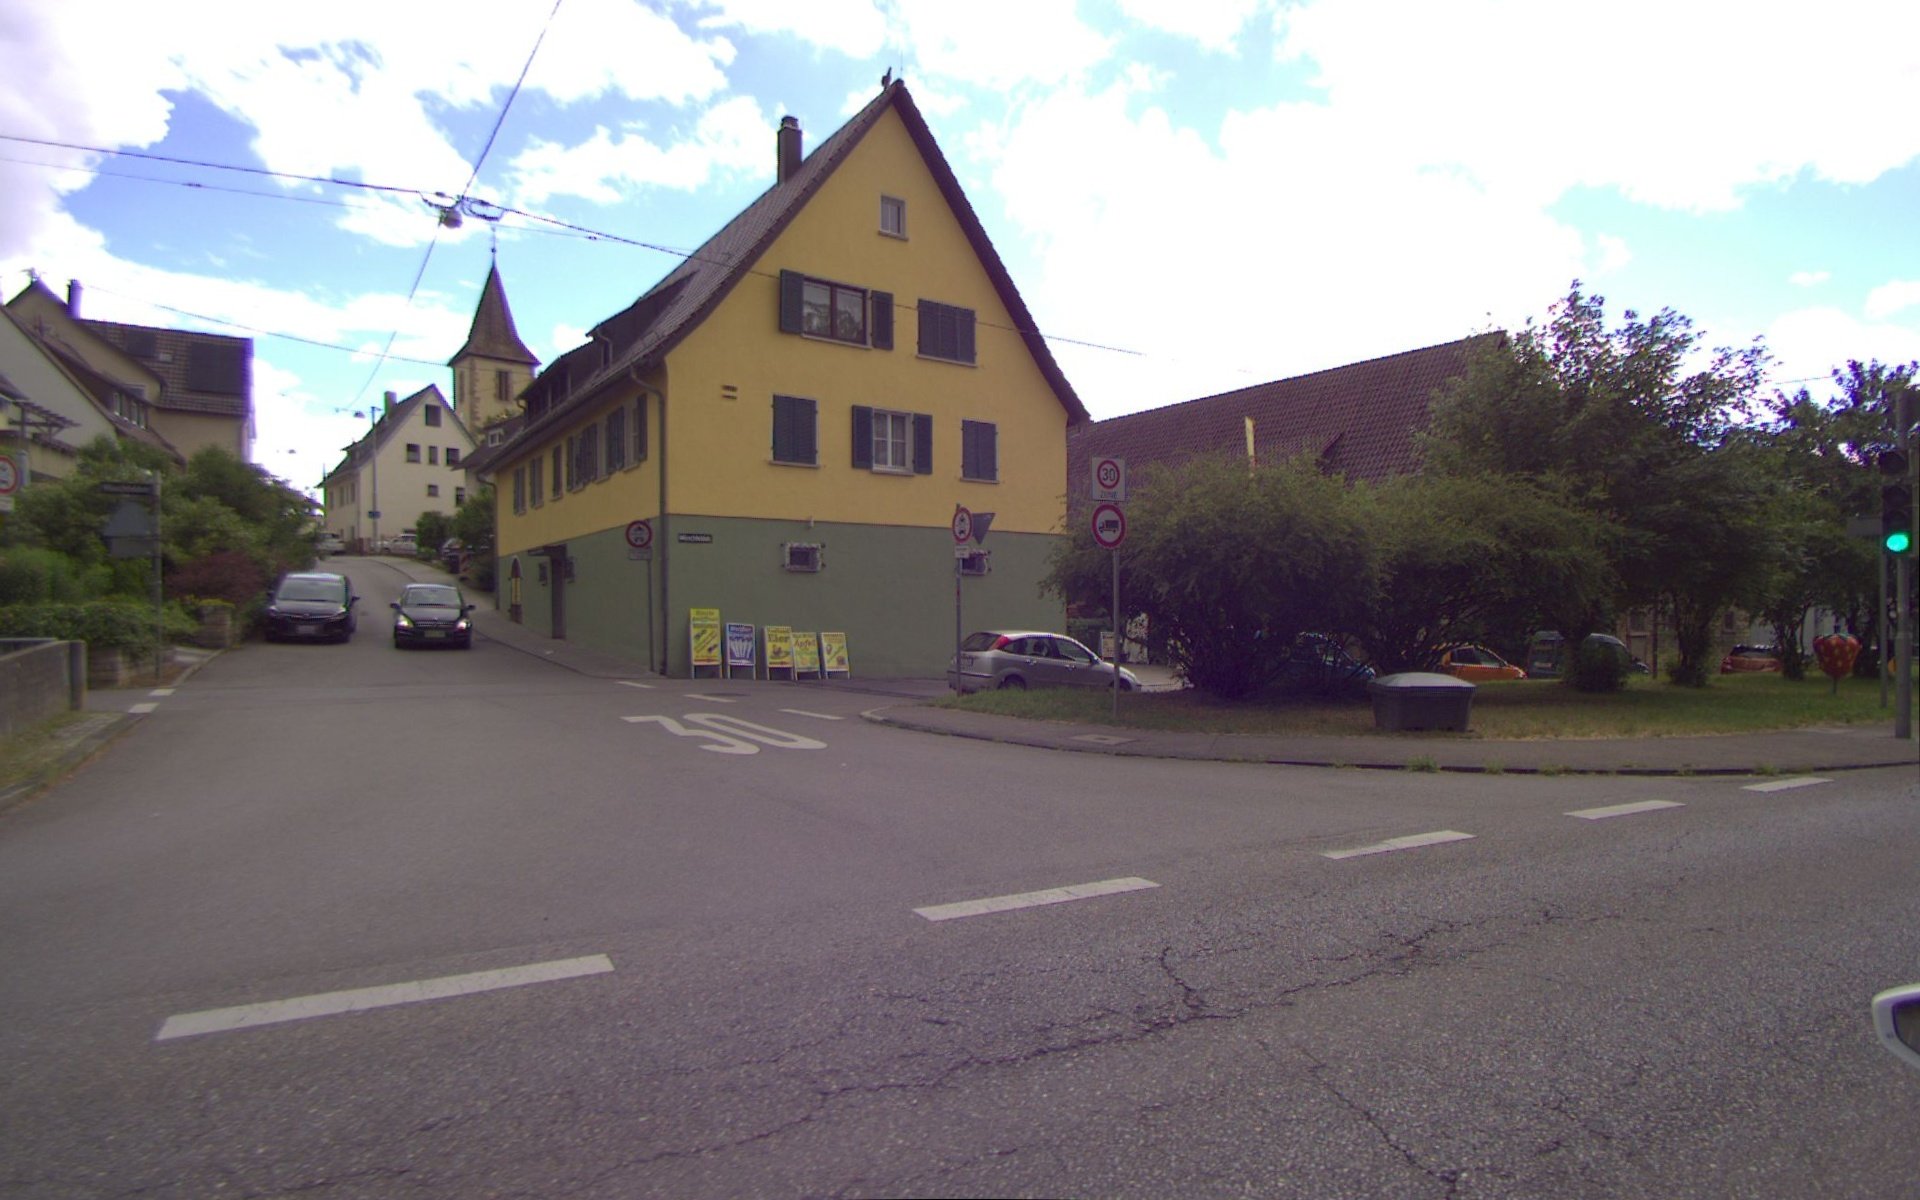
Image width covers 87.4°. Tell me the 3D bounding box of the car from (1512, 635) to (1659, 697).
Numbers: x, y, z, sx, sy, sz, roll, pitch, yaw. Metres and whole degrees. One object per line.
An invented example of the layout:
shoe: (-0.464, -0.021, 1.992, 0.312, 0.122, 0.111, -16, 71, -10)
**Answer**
car: (17.808, 1.839, 28.593, 3.949, 1.639, 1.805, 1, -3, -28)

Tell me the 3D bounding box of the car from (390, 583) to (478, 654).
car: (-14.036, 0.441, 26.716, 1.923, 1.617, 3.968, 1, 2, -30)

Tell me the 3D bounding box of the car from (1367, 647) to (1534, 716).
car: (12.753, 2.053, 26.125, 3.949, 1.639, 1.941, 1, -3, -28)

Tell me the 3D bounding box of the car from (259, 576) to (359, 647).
car: (-16.951, 0.261, 26.309, 1.923, 1.617, 3.968, 2, 2, -30)

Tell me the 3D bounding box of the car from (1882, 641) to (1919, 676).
car: (36.500, 2.205, 37.964, 2.519, 1.294, 1.549, 1, -2, -25)

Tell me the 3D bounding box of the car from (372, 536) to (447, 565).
car: (-36.096, -3.234, 65.923, 3.969, 1.612, 1.976, 2, 0, -41)

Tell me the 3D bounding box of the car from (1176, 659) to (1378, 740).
car: (7.348, 2.229, 23.235, 4.392, 1.639, 1.986, 1, -3, -29)

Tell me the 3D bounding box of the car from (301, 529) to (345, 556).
car: (-42.448, -3.838, 66.882, 1.984, 1.550, 3.954, 6, -1, -39)

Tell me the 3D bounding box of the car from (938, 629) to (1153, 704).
car: (1.741, 1.272, 20.033, 4.104, 1.362, 1.637, 1, -3, -31)

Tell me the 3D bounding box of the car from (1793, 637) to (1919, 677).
car: (31.216, 1.952, 34.887, 3.945, 1.294, 1.988, 1, -2, -25)

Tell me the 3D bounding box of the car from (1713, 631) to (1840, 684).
car: (26.610, 1.832, 32.725, 3.949, 1.639, 1.805, 1, -3, -28)
